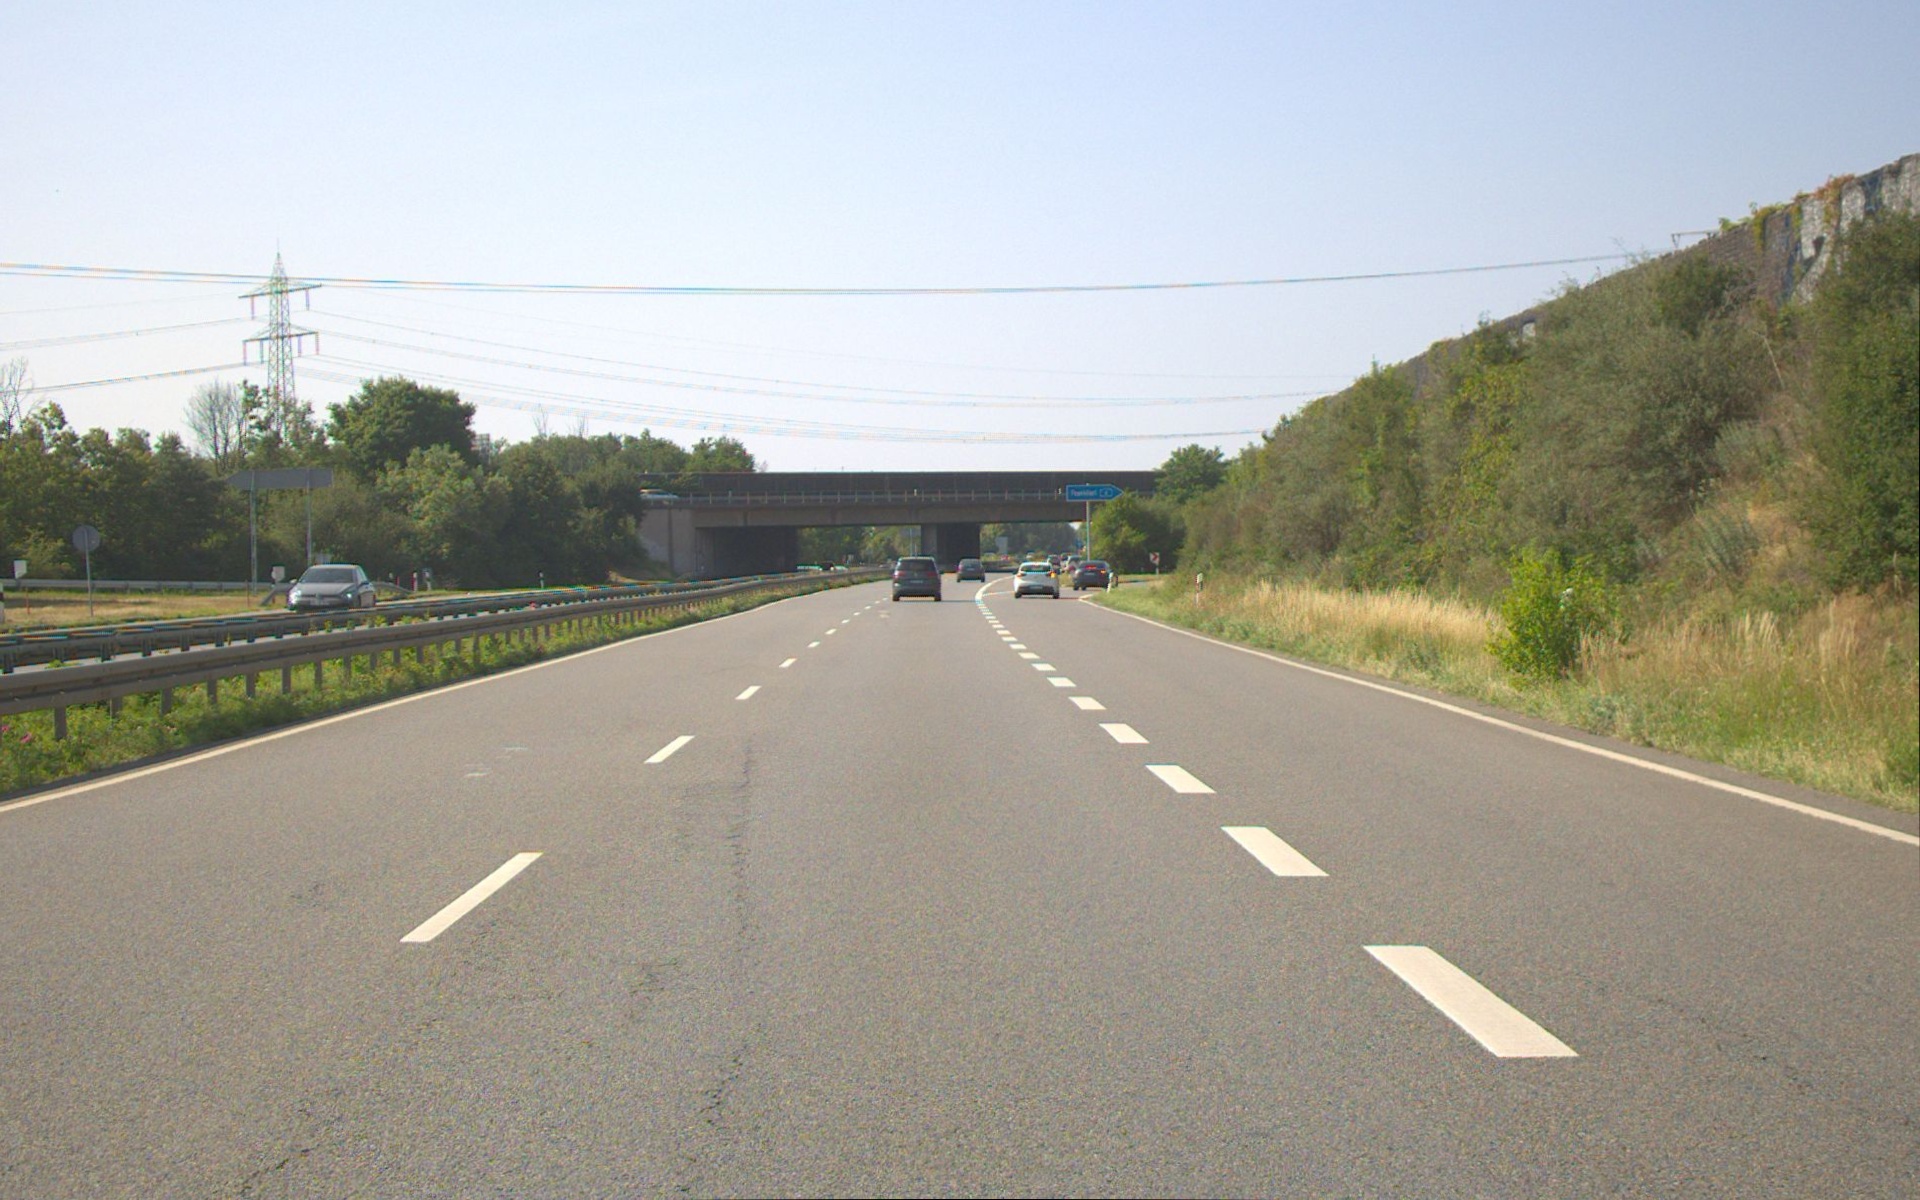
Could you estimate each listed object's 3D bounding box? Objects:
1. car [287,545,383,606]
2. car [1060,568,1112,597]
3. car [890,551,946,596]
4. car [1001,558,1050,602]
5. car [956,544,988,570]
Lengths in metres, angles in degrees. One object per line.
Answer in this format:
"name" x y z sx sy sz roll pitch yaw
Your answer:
"car" -16.337 -0.658 90.024 1.700 1.480 4.620 2 1 -1
"car" 6.236 -0.879 169.970 1.902 1.293 3.998 2 1 11
"car" -1.536 -0.996 127.245 1.850 1.639 4.000 0 1 2
"car" 2.638 -0.818 137.483 1.796 1.659 4.000 2 1 2
"car" 0.769 -2.725 218.092 1.850 1.639 4.000 0 1 2
